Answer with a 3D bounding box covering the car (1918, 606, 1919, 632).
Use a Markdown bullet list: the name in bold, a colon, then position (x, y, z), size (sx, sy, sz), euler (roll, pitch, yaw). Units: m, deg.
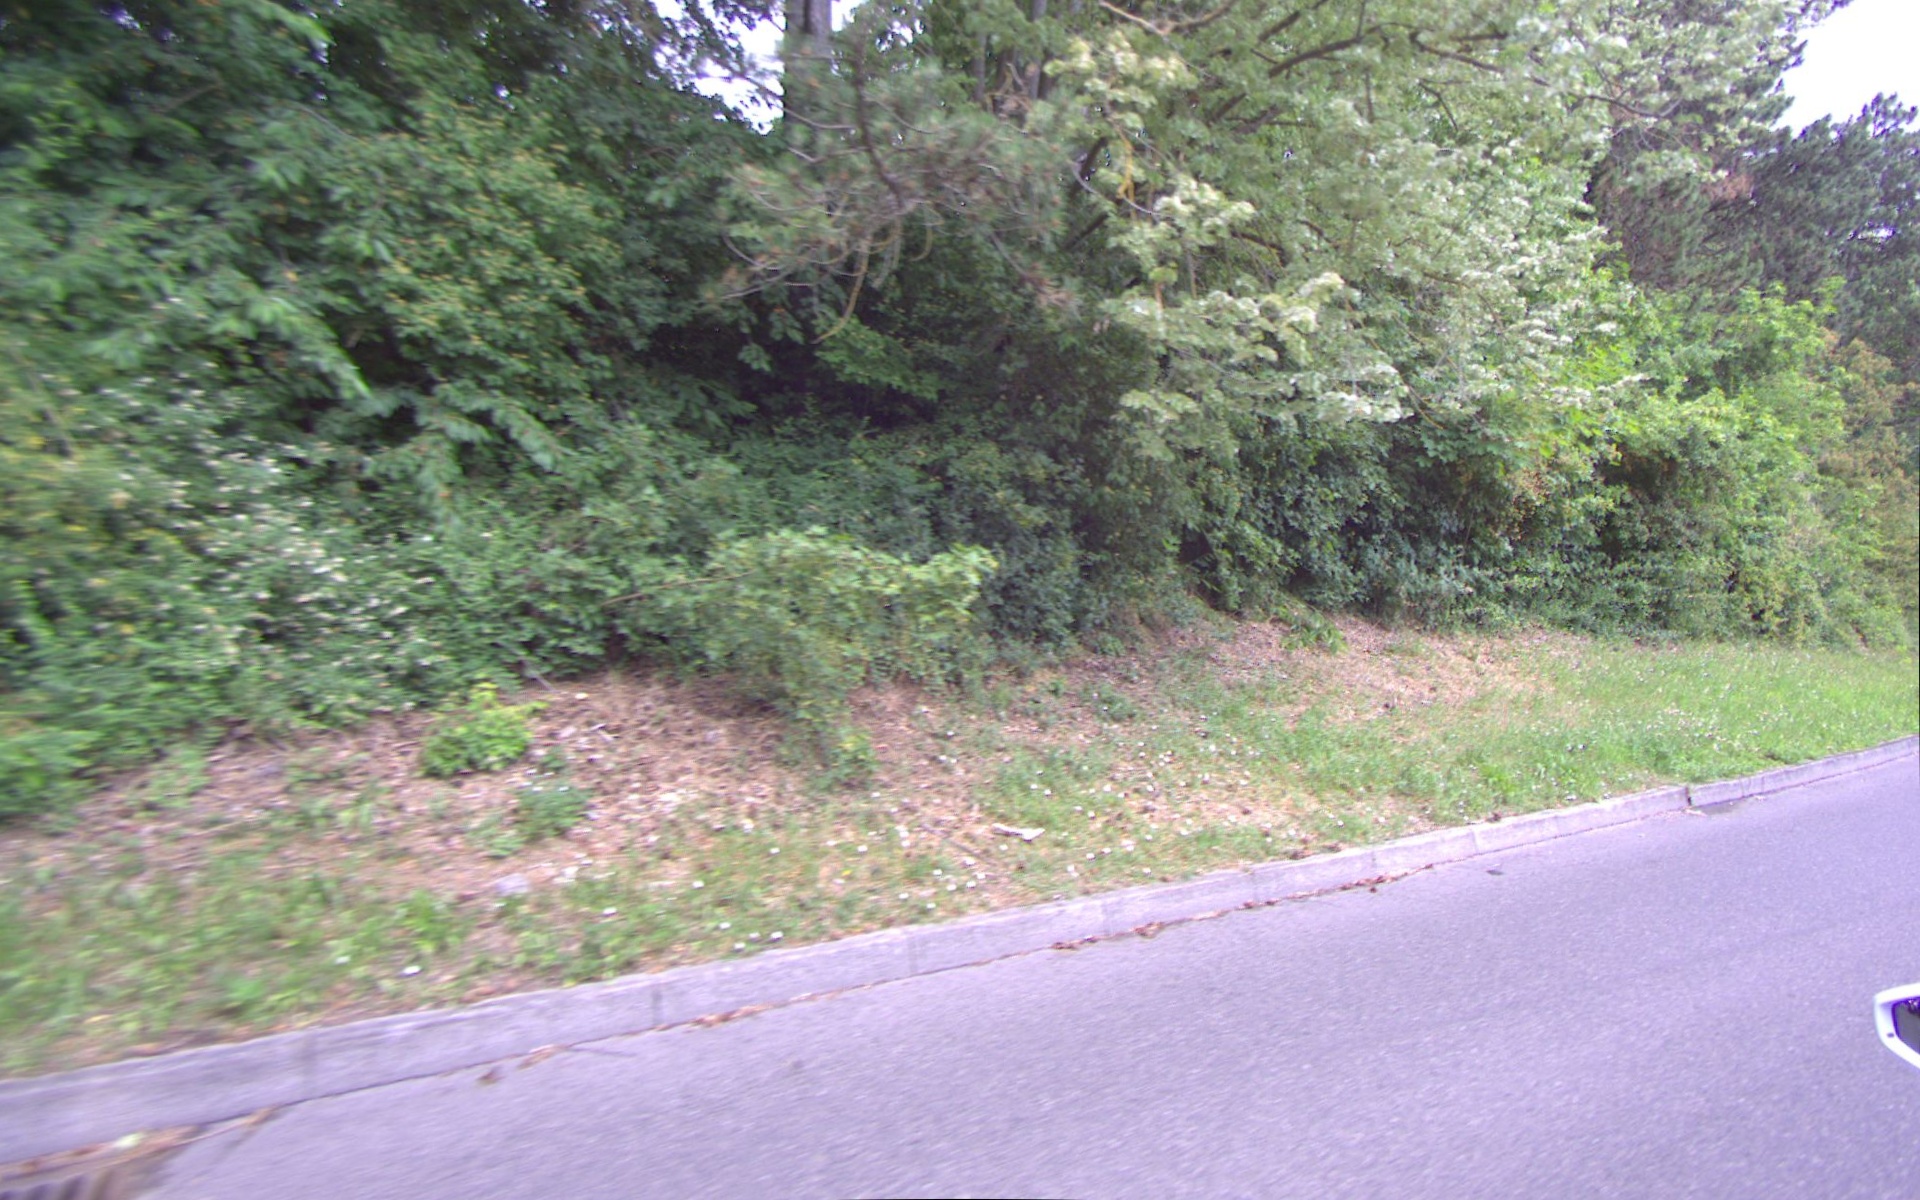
- **car**: position (63.255, 1.300, 63.957), size (1.748, 1.685, 4.836), euler (4, 1, 25)
